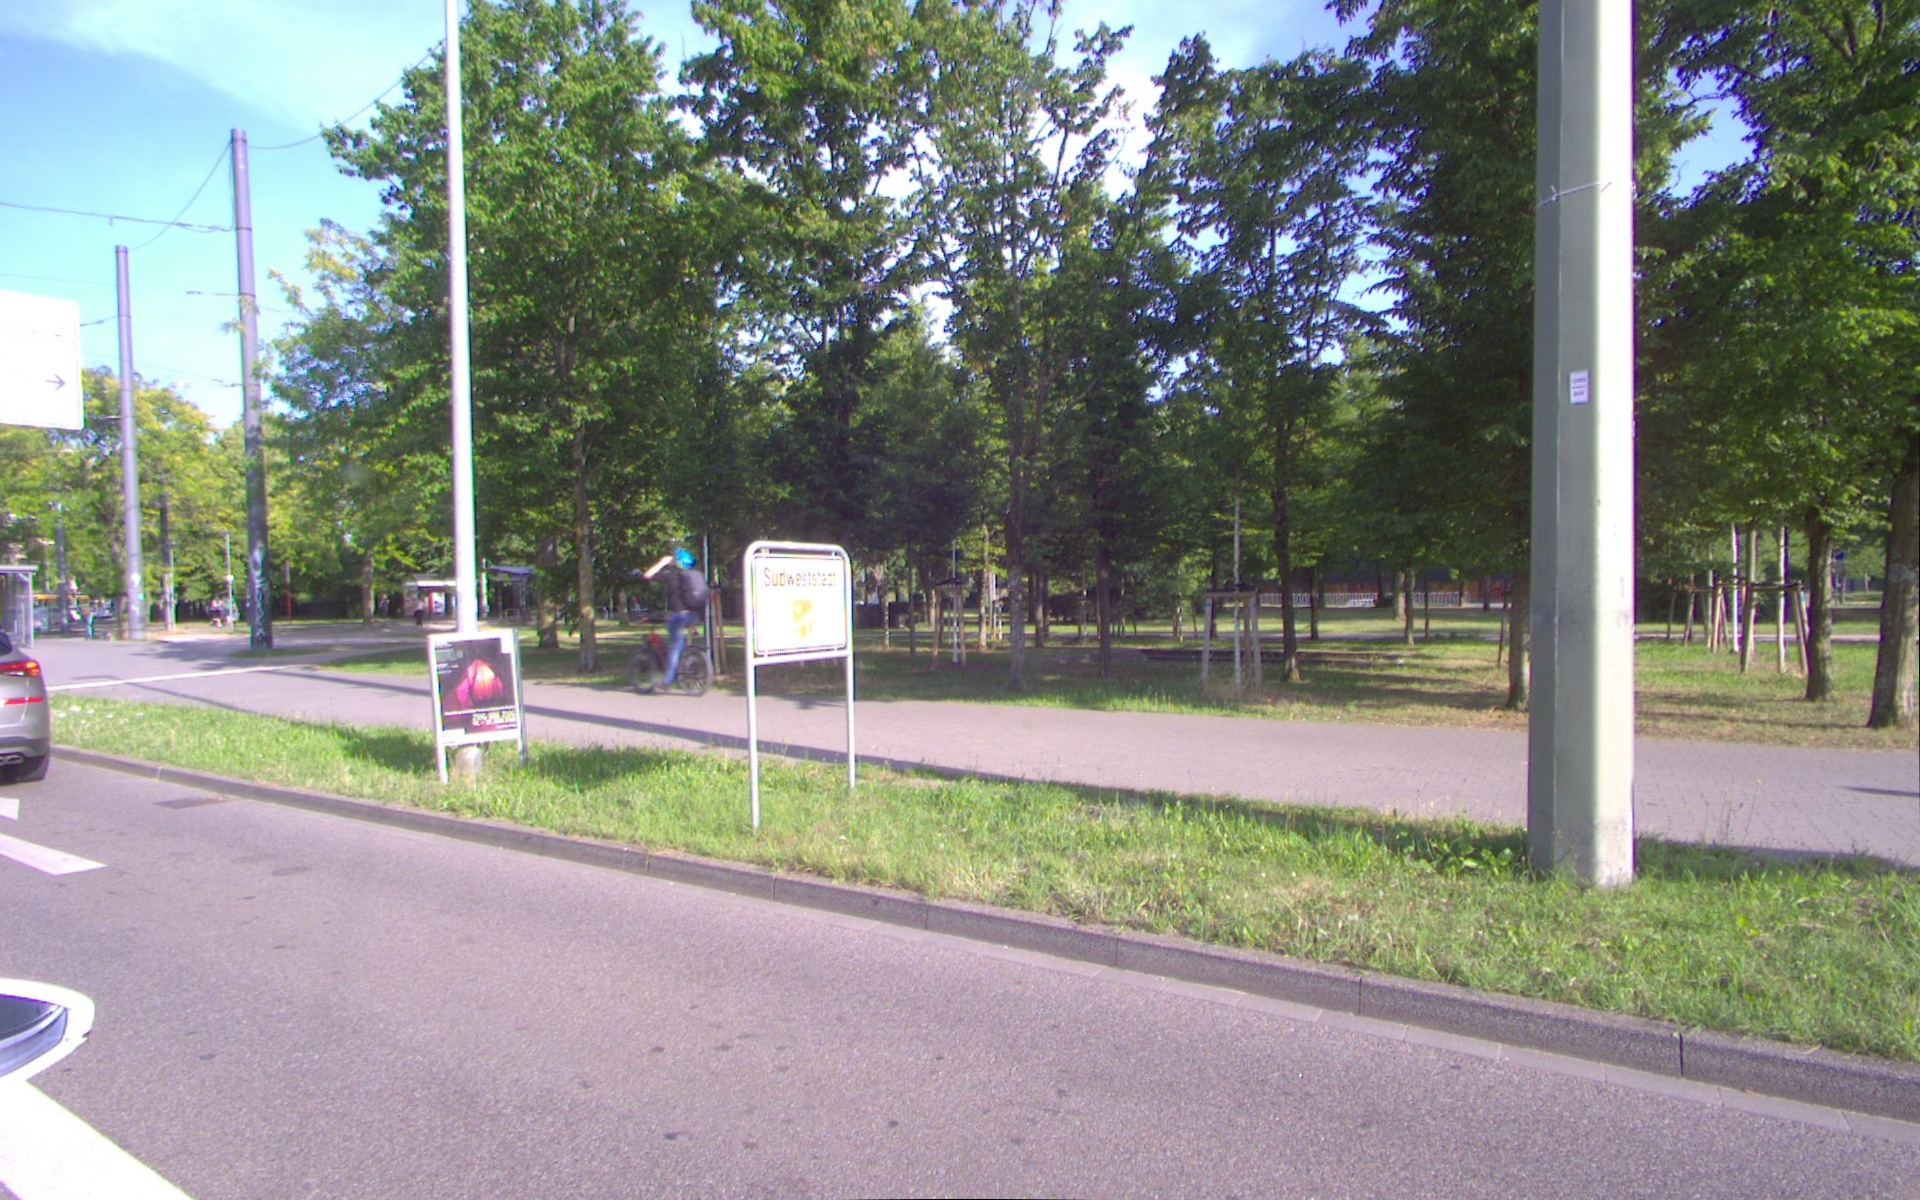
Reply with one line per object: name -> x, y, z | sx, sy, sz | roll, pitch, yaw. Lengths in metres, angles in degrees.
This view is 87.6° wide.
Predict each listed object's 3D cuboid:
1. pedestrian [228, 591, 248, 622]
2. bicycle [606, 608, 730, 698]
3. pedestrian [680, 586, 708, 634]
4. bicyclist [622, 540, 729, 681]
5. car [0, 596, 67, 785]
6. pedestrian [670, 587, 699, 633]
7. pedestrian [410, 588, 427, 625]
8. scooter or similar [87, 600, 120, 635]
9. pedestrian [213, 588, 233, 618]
pedestrian -> -39.797, 0.349, 55.170 | 0.681, 1.688, 0.639 | 0, 1, 32
bicycle -> -3.920, 0.676, 13.387 | 1.711, 1.103, 0.638 | 0, 3, 36
pedestrian -> -10.761, 0.415, 40.521 | 0.868, 1.922, 0.670 | 0, -1, 33
bicyclist -> -3.764, 0.121, 13.248 | 1.125, 1.770, 0.717 | 0, 4, 36
car -> -10.063, 0.787, 9.199 | 3.760, 1.621, 1.832 | 0, -1, 32
pedestrian -> -10.936, 0.420, 39.766 | 0.867, 1.800, 0.670 | 0, -1, 33
pedestrian -> -27.620, 0.330, 51.093 | 0.594, 1.891, 0.462 | 0, -1, 2
scooter or similar -> -31.433, 0.635, 36.748 | 1.115, 1.248, 0.351 | 0, 1, 18
pedestrian -> -40.911, 0.167, 55.572 | 0.681, 1.688, 0.639 | 0, 1, 32
